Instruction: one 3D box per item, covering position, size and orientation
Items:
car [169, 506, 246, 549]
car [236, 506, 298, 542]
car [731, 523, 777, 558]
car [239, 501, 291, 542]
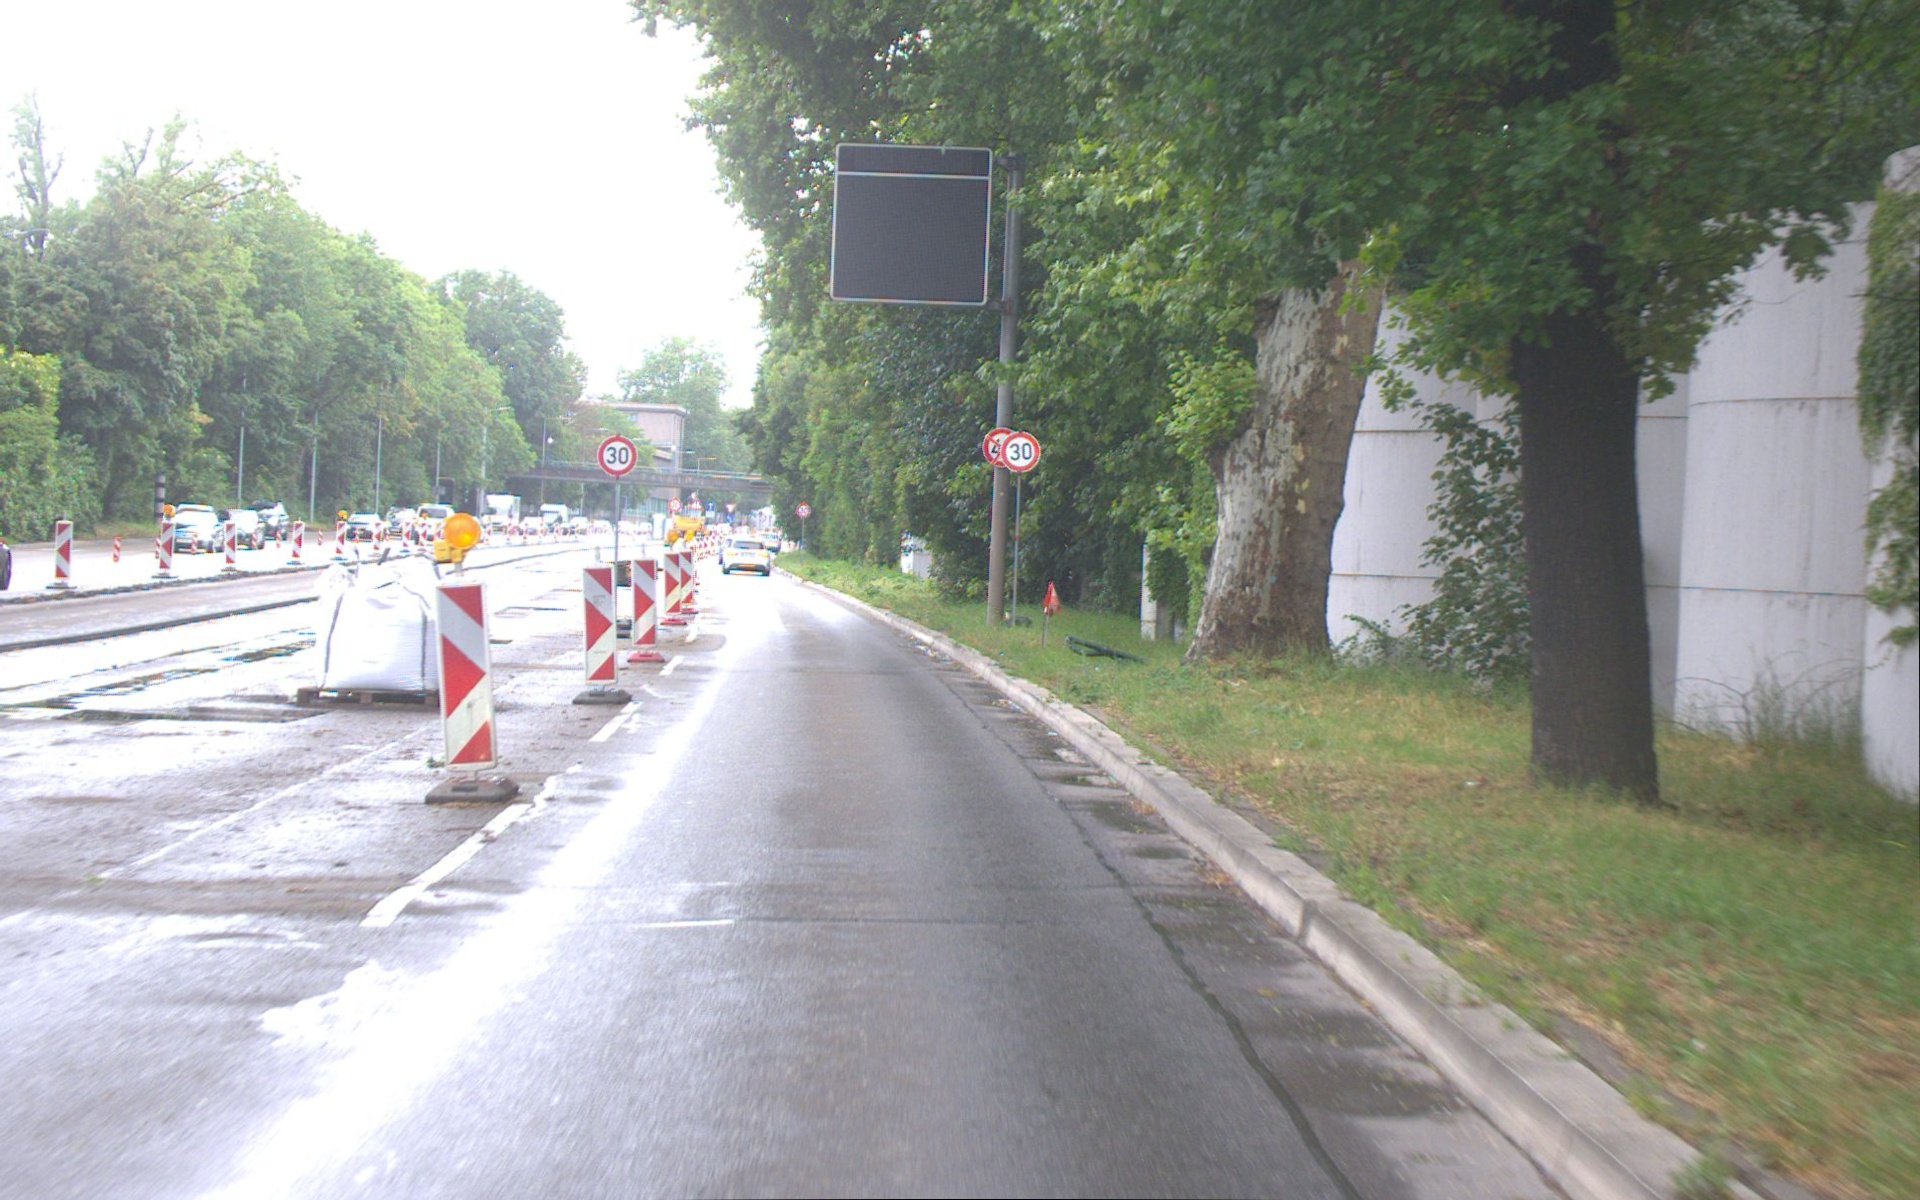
[{"bbox_3d":[-24.471,-2.358,111.898,1.817,1.351,4.391,1,1,-4],"label":"car"},{"bbox_3d":[-26.768,-2.942,132.900,1.817,1.351,4.205,1,1,-4],"label":"car"},{"bbox_3d":[-8.036,-2.319,133.964,1.697,1.331,3.492,0,1,-5],"label":"car"},{"bbox_3d":[-30.858,-3.494,152.724,1.653,1.679,4.534,3,1,-4],"label":"car"}]
